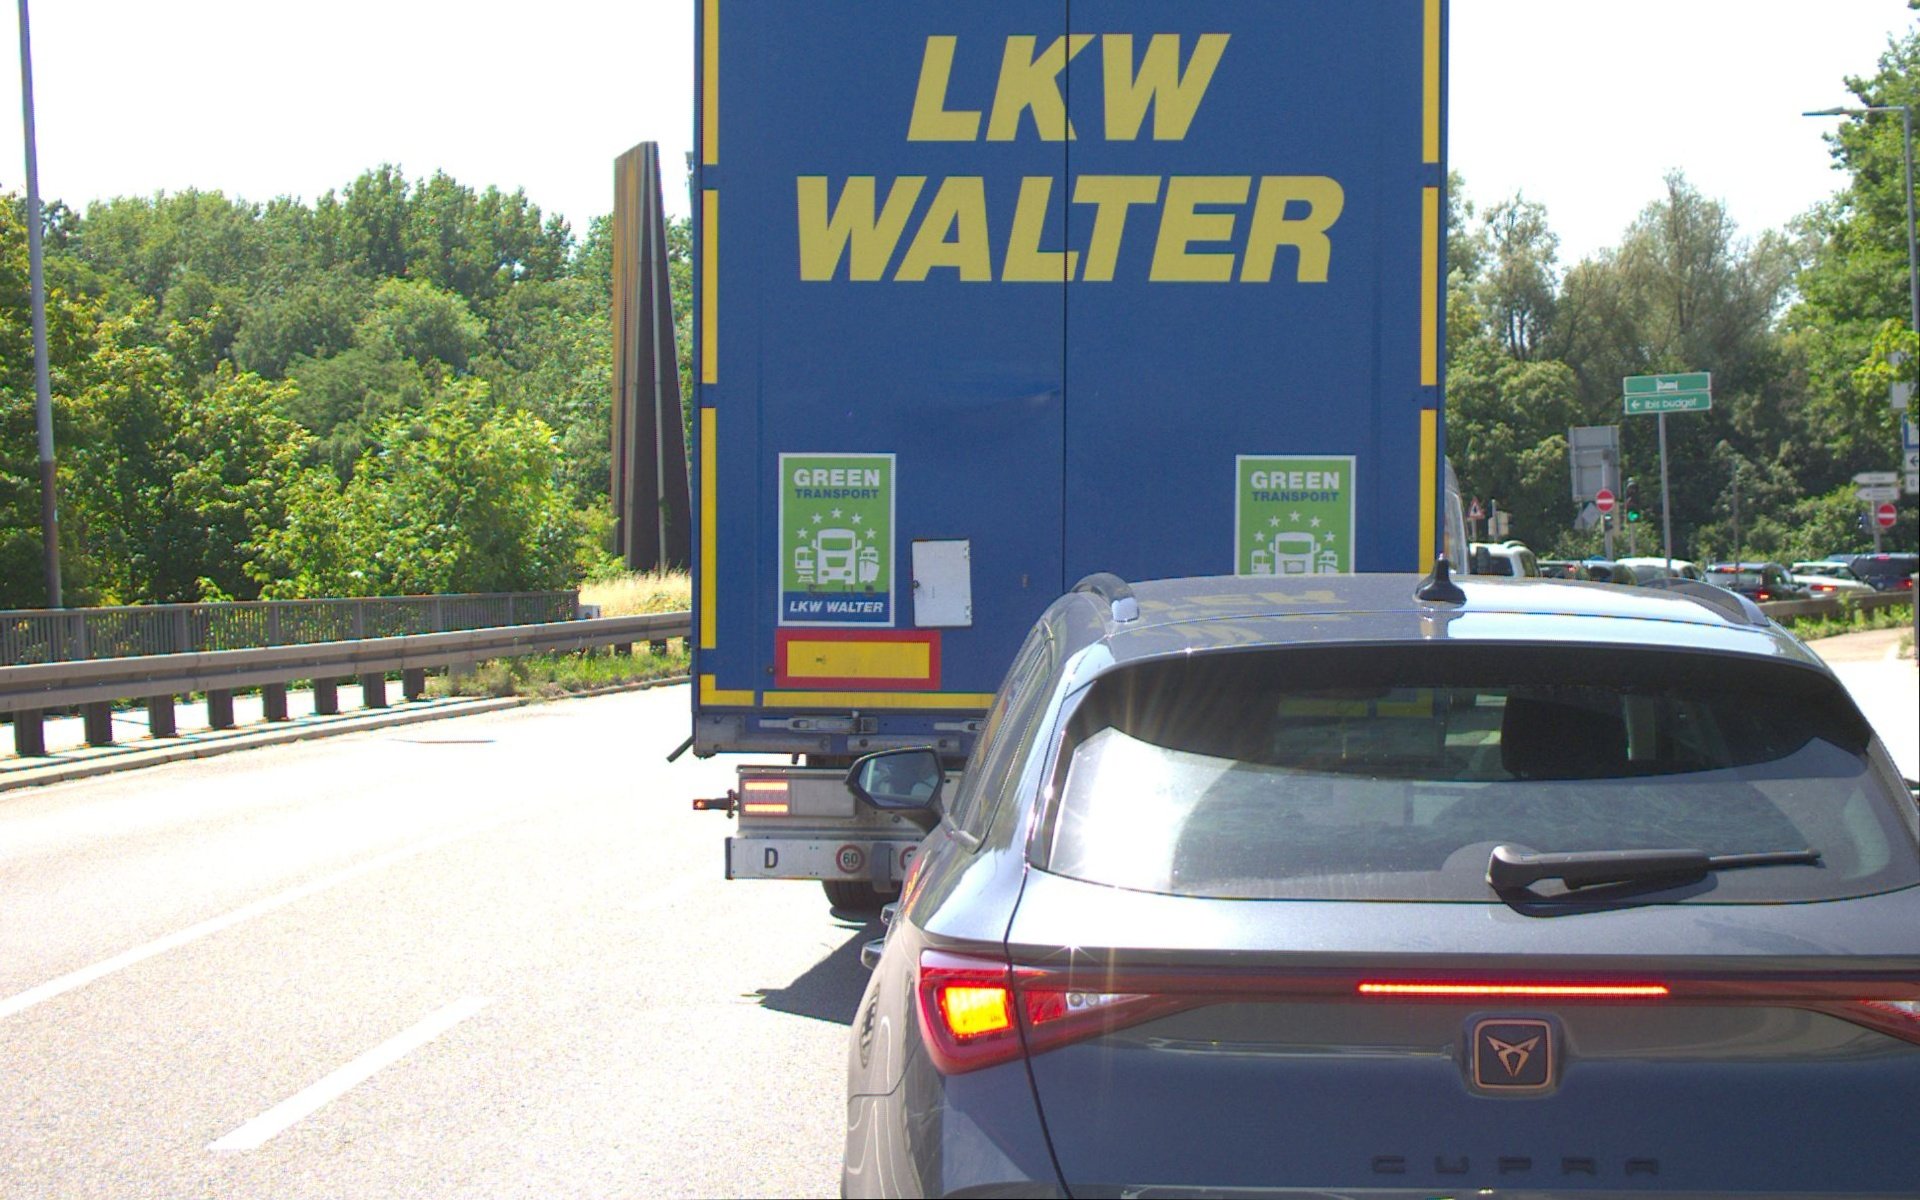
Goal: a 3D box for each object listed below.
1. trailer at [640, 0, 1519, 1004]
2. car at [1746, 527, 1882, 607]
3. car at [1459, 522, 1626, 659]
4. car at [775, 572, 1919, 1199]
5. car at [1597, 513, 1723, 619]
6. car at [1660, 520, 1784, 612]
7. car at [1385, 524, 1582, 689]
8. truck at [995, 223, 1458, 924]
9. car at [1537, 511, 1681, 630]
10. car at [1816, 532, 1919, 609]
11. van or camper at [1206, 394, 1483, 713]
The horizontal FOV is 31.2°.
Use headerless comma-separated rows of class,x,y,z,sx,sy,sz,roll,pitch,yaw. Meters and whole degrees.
trailer,1.147,-1.003,17.548,2.905,4.403,12.430,0,1,7
car,18.504,-0.700,74.377,1.996,1.570,3.994,2,0,26
car,8.049,-0.166,47.303,1.722,1.796,3.997,0,1,18
car,0.686,0.691,5.942,1.677,1.451,3.958,0,1,2
car,12.543,-0.633,61.492,1.722,1.837,3.996,0,1,19
car,15.124,-0.664,68.145,1.687,1.754,3.995,0,0,23
car,6.287,0.027,40.986,1.722,1.837,3.997,0,2,18
truck,2.089,-0.233,25.039,2.905,4.403,6.554,0,1,7
car,10.451,-0.495,55.177,1.722,1.837,3.996,0,1,19
car,21.365,-0.671,80.353,1.688,1.754,3.994,0,0,28
van or camper,3.876,-0.469,33.604,2.155,2.806,6.384,0,1,11
